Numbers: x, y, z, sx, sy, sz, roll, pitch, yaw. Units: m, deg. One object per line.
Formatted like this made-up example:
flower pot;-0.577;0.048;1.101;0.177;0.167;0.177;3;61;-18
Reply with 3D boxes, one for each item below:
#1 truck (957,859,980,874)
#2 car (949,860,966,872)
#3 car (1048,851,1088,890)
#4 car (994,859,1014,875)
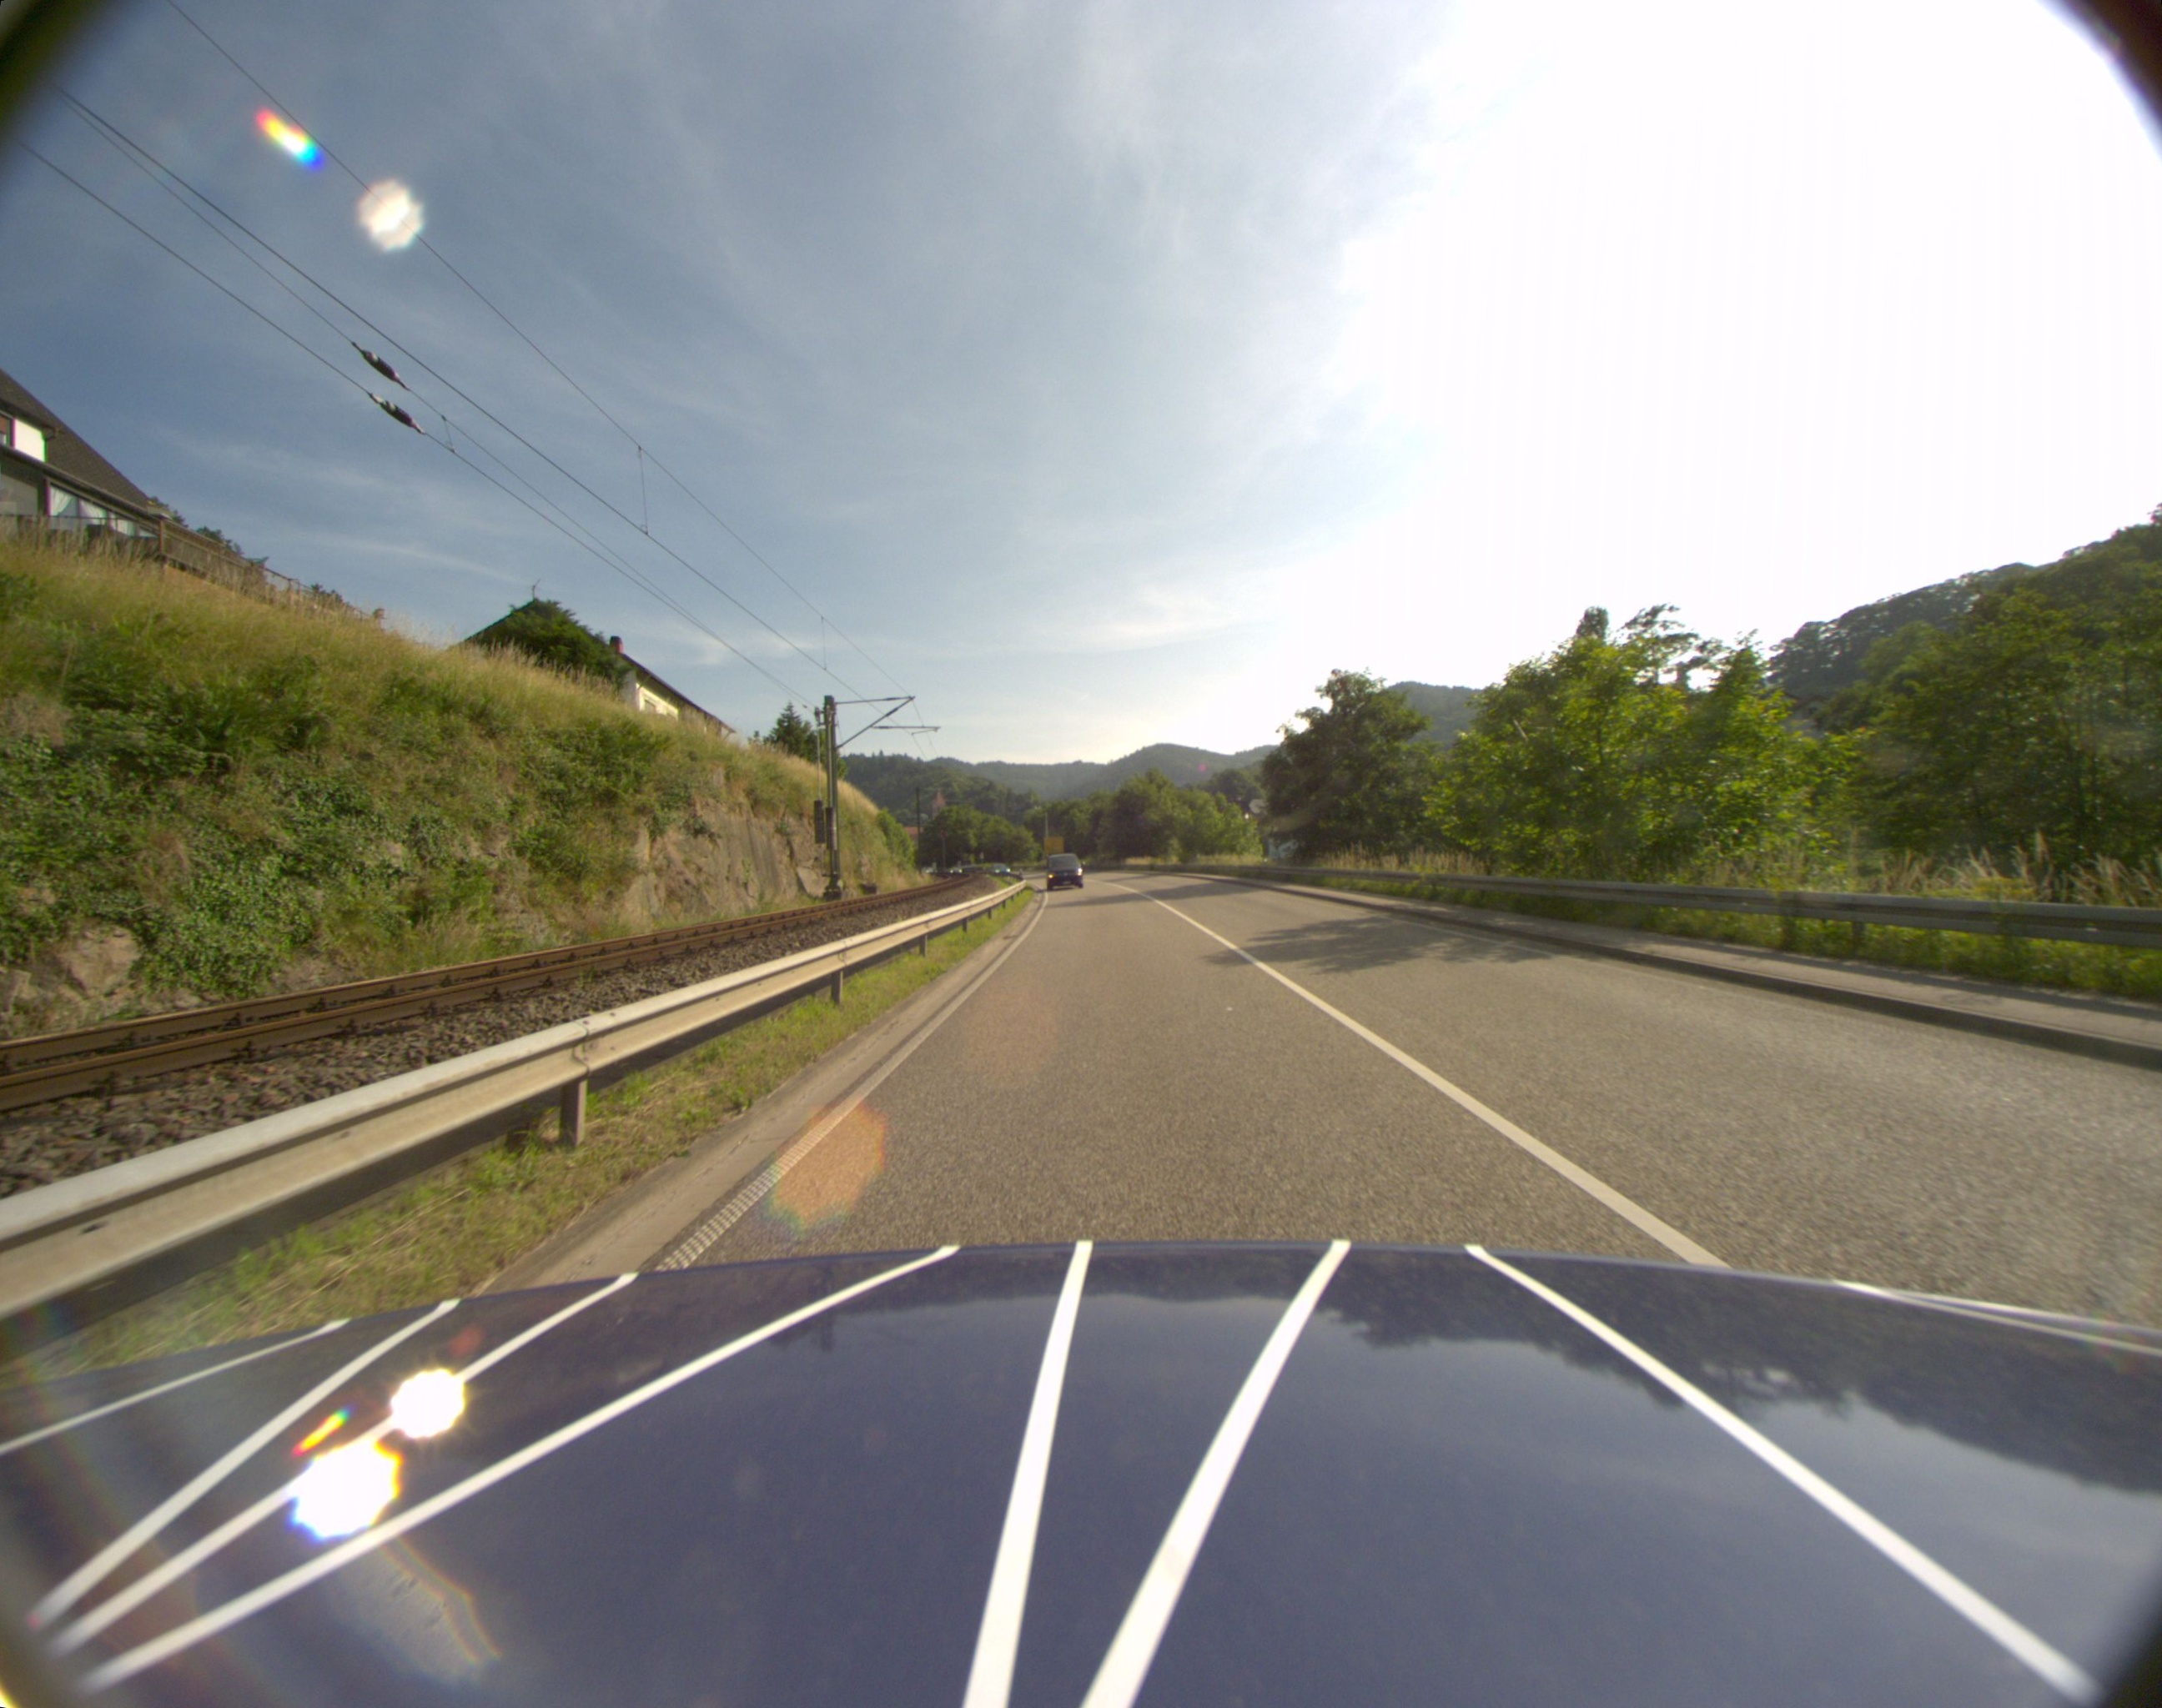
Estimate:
truck;-19.460;2.240;130.710;2.165;2.352;6.735;-6;1;-22
car;-19.858;1.978;122.267;1.888;1.735;4.172;-3;0;-20
car;-0.730;0.895;42.761;2.018;1.905;4.312;-4;0;-1
car;-9.333;1.548;91.814;1.887;1.735;4.174;-3;0;-13
